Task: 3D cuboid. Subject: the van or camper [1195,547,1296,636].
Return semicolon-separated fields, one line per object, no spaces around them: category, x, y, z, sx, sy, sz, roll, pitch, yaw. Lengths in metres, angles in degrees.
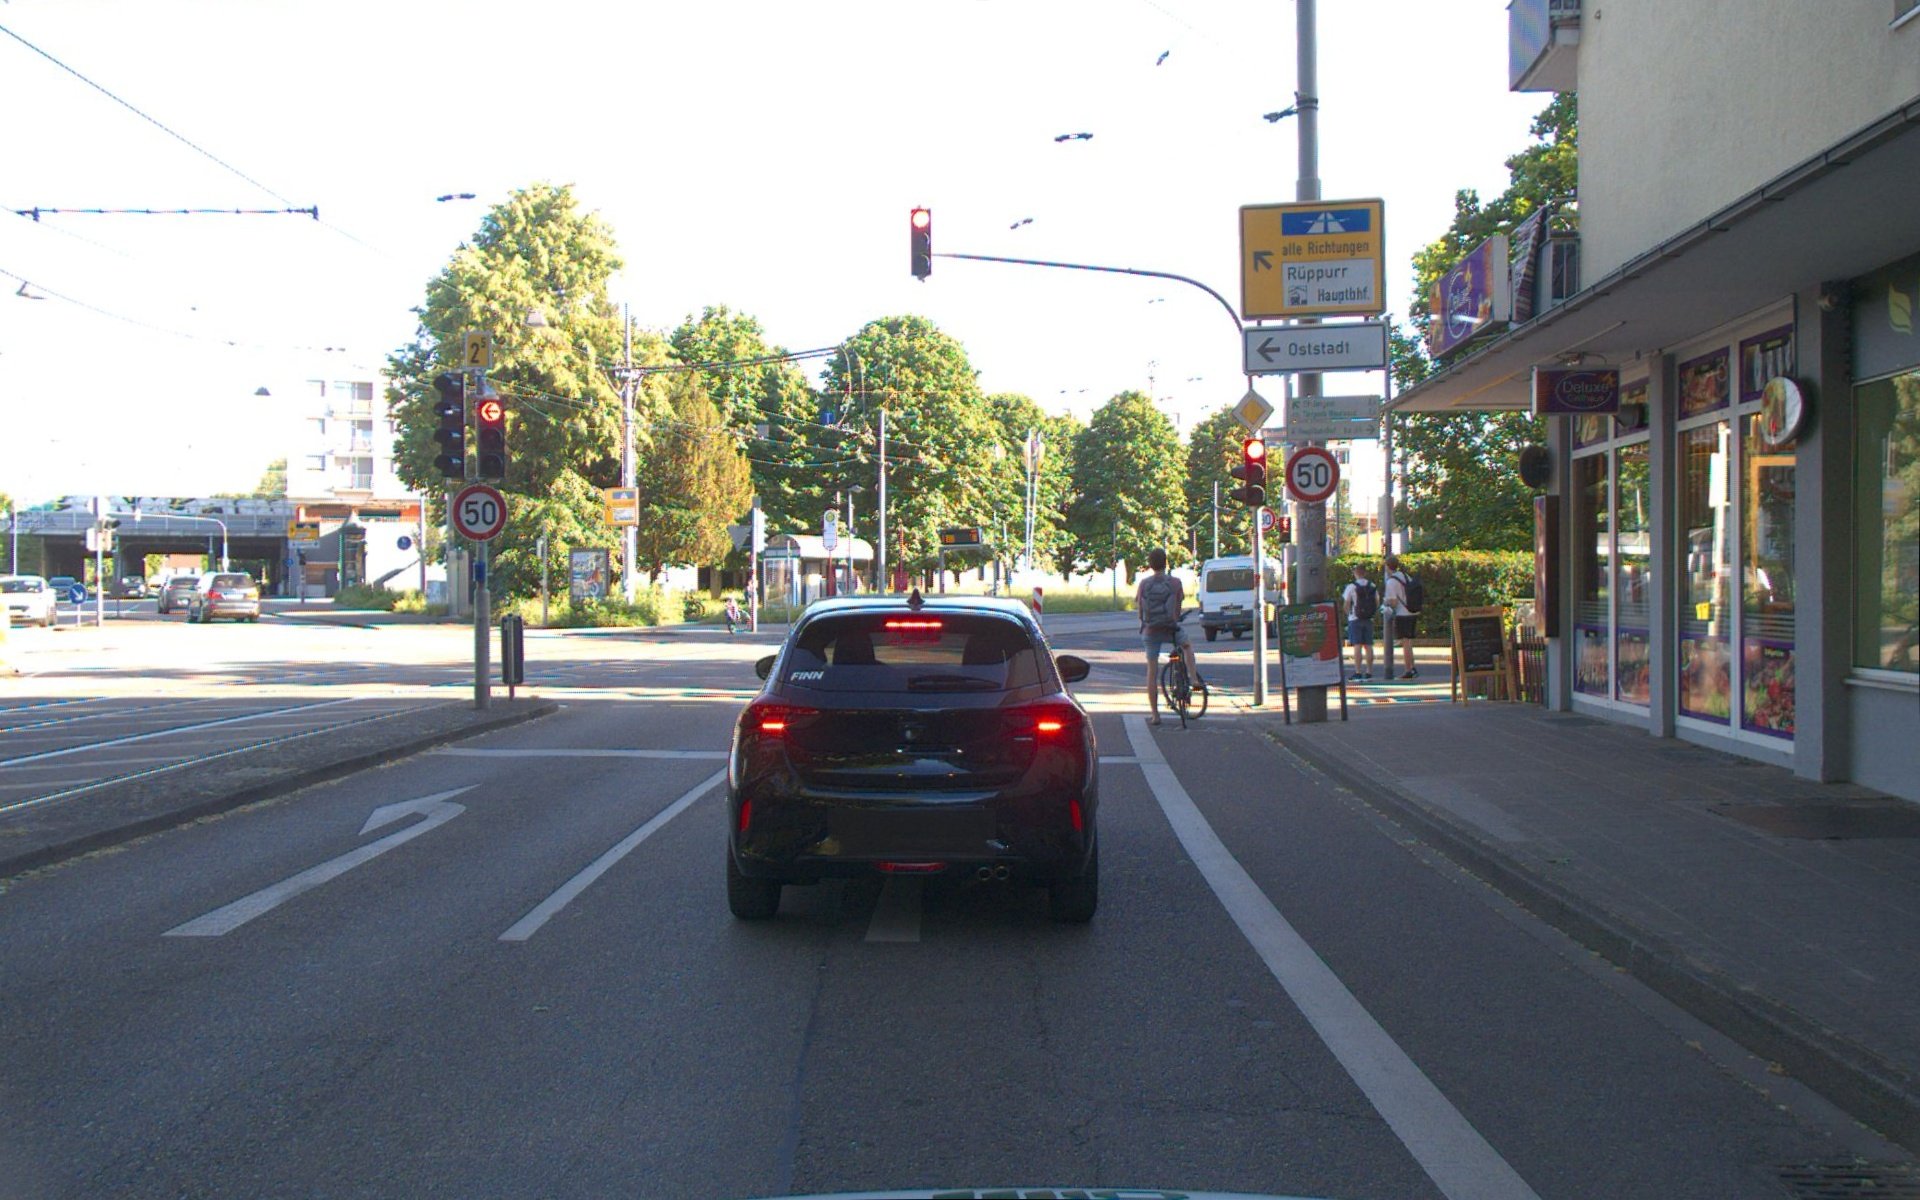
van or camper;8.061;-0.223;46.403;1.987;2.351;4.540;1;0;20

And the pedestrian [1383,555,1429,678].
pedestrian;6.889;0.251;25.543;0.620;1.852;0.745;1;-1;19

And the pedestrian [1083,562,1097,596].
pedestrian;7.385;-1.194;94.137;0.601;1.904;0.511;1;-1;-45

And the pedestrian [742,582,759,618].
pedestrian;-8.799;-0.008;69.491;0.558;1.498;0.666;0;0;4

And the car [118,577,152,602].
car;-55.517;-0.690;111.365;1.860;1.613;3.809;1;0;-24

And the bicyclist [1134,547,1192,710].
bicyclist;2.189;0.298;17.818;0.522;1.722;0.568;0;0;16

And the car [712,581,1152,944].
car;-0.141;0.650;8.803;1.803;1.487;3.983;0;1;-1

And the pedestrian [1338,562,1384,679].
pedestrian;6.223;0.312;25.631;0.620;1.794;0.582;1;-1;19

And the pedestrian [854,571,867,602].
pedestrian;-6.061;-0.819;100.484;0.723;1.904;0.661;1;-1;-7

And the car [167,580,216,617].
car;-33.816;-0.057;72.704;1.776;1.545;4.169;1;0;-27

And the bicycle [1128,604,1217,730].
bicycle;2.329;0.691;17.973;0.737;1.256;2.017;0;1;14

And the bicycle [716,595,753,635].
bicycle;-6.297;0.404;46.252;0.780;1.083;2.184;0;1;-1

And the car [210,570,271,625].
car;-26.503;-0.108;60.846;1.885;1.914;4.806;-1;1;-26

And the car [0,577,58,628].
car;-31.168;0.068;54.853;1.860;1.613;3.809;1;0;-24
